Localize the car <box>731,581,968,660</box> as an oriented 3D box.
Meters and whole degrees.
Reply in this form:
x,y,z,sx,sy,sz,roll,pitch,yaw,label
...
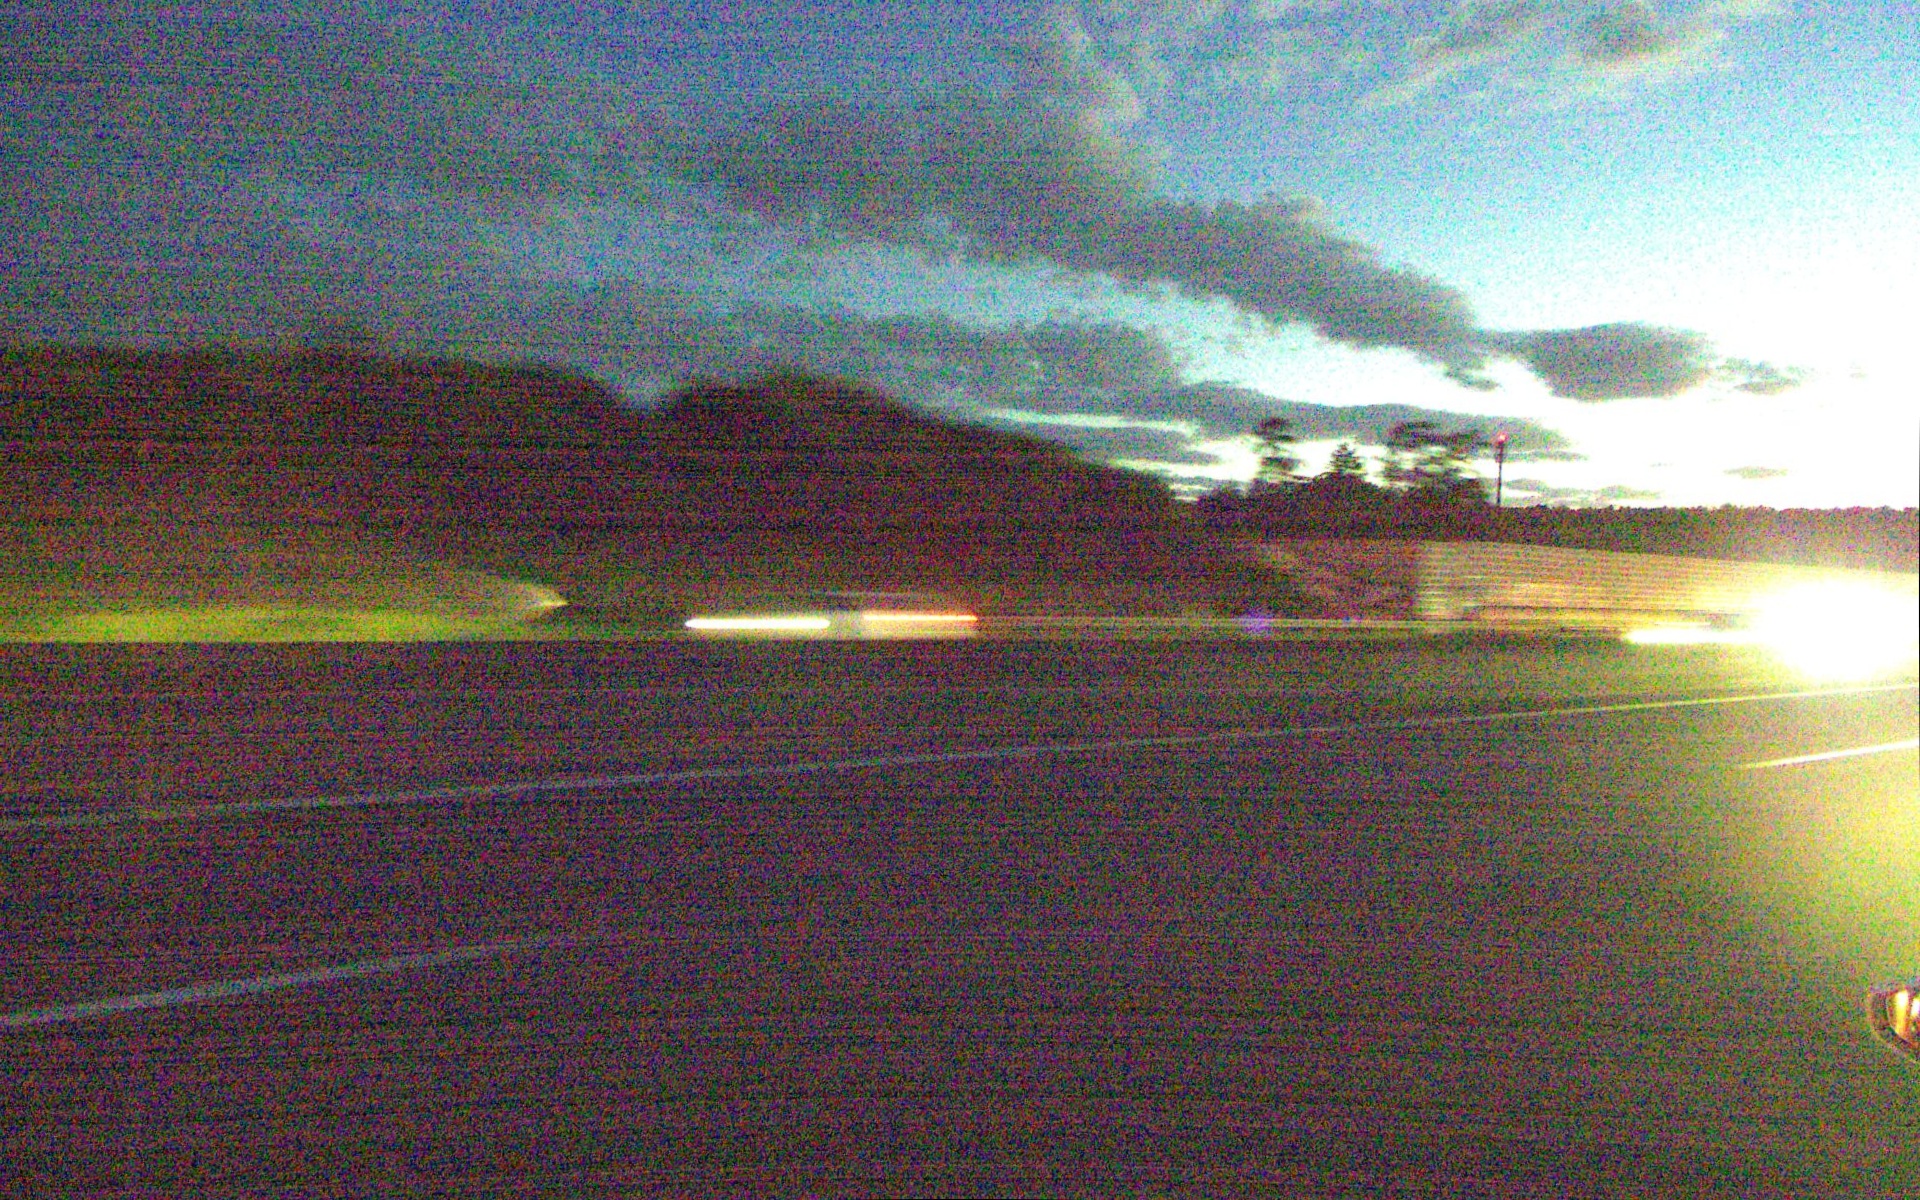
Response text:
x,y,z,sx,sy,sz,roll,pitch,yaw,label
-2.638,0.514,24.420,5.323,1.710,2.094,2,0,-30,car

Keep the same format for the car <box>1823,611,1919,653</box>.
x,y,z,sx,sy,sz,roll,pitch,yaw,label
42.089,1.436,46.219,4.811,1.813,2.094,1,1,-30,car

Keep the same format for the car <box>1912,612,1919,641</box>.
x,y,z,sx,sy,sz,roll,pitch,yaw,label
64.151,1.810,65.221,4.812,1.813,2.094,2,0,-30,car

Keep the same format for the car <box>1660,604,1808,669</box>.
x,y,z,sx,sy,sz,roll,pitch,yaw,label
23.627,1.119,30.648,4.268,1.813,2.094,2,0,-30,car
